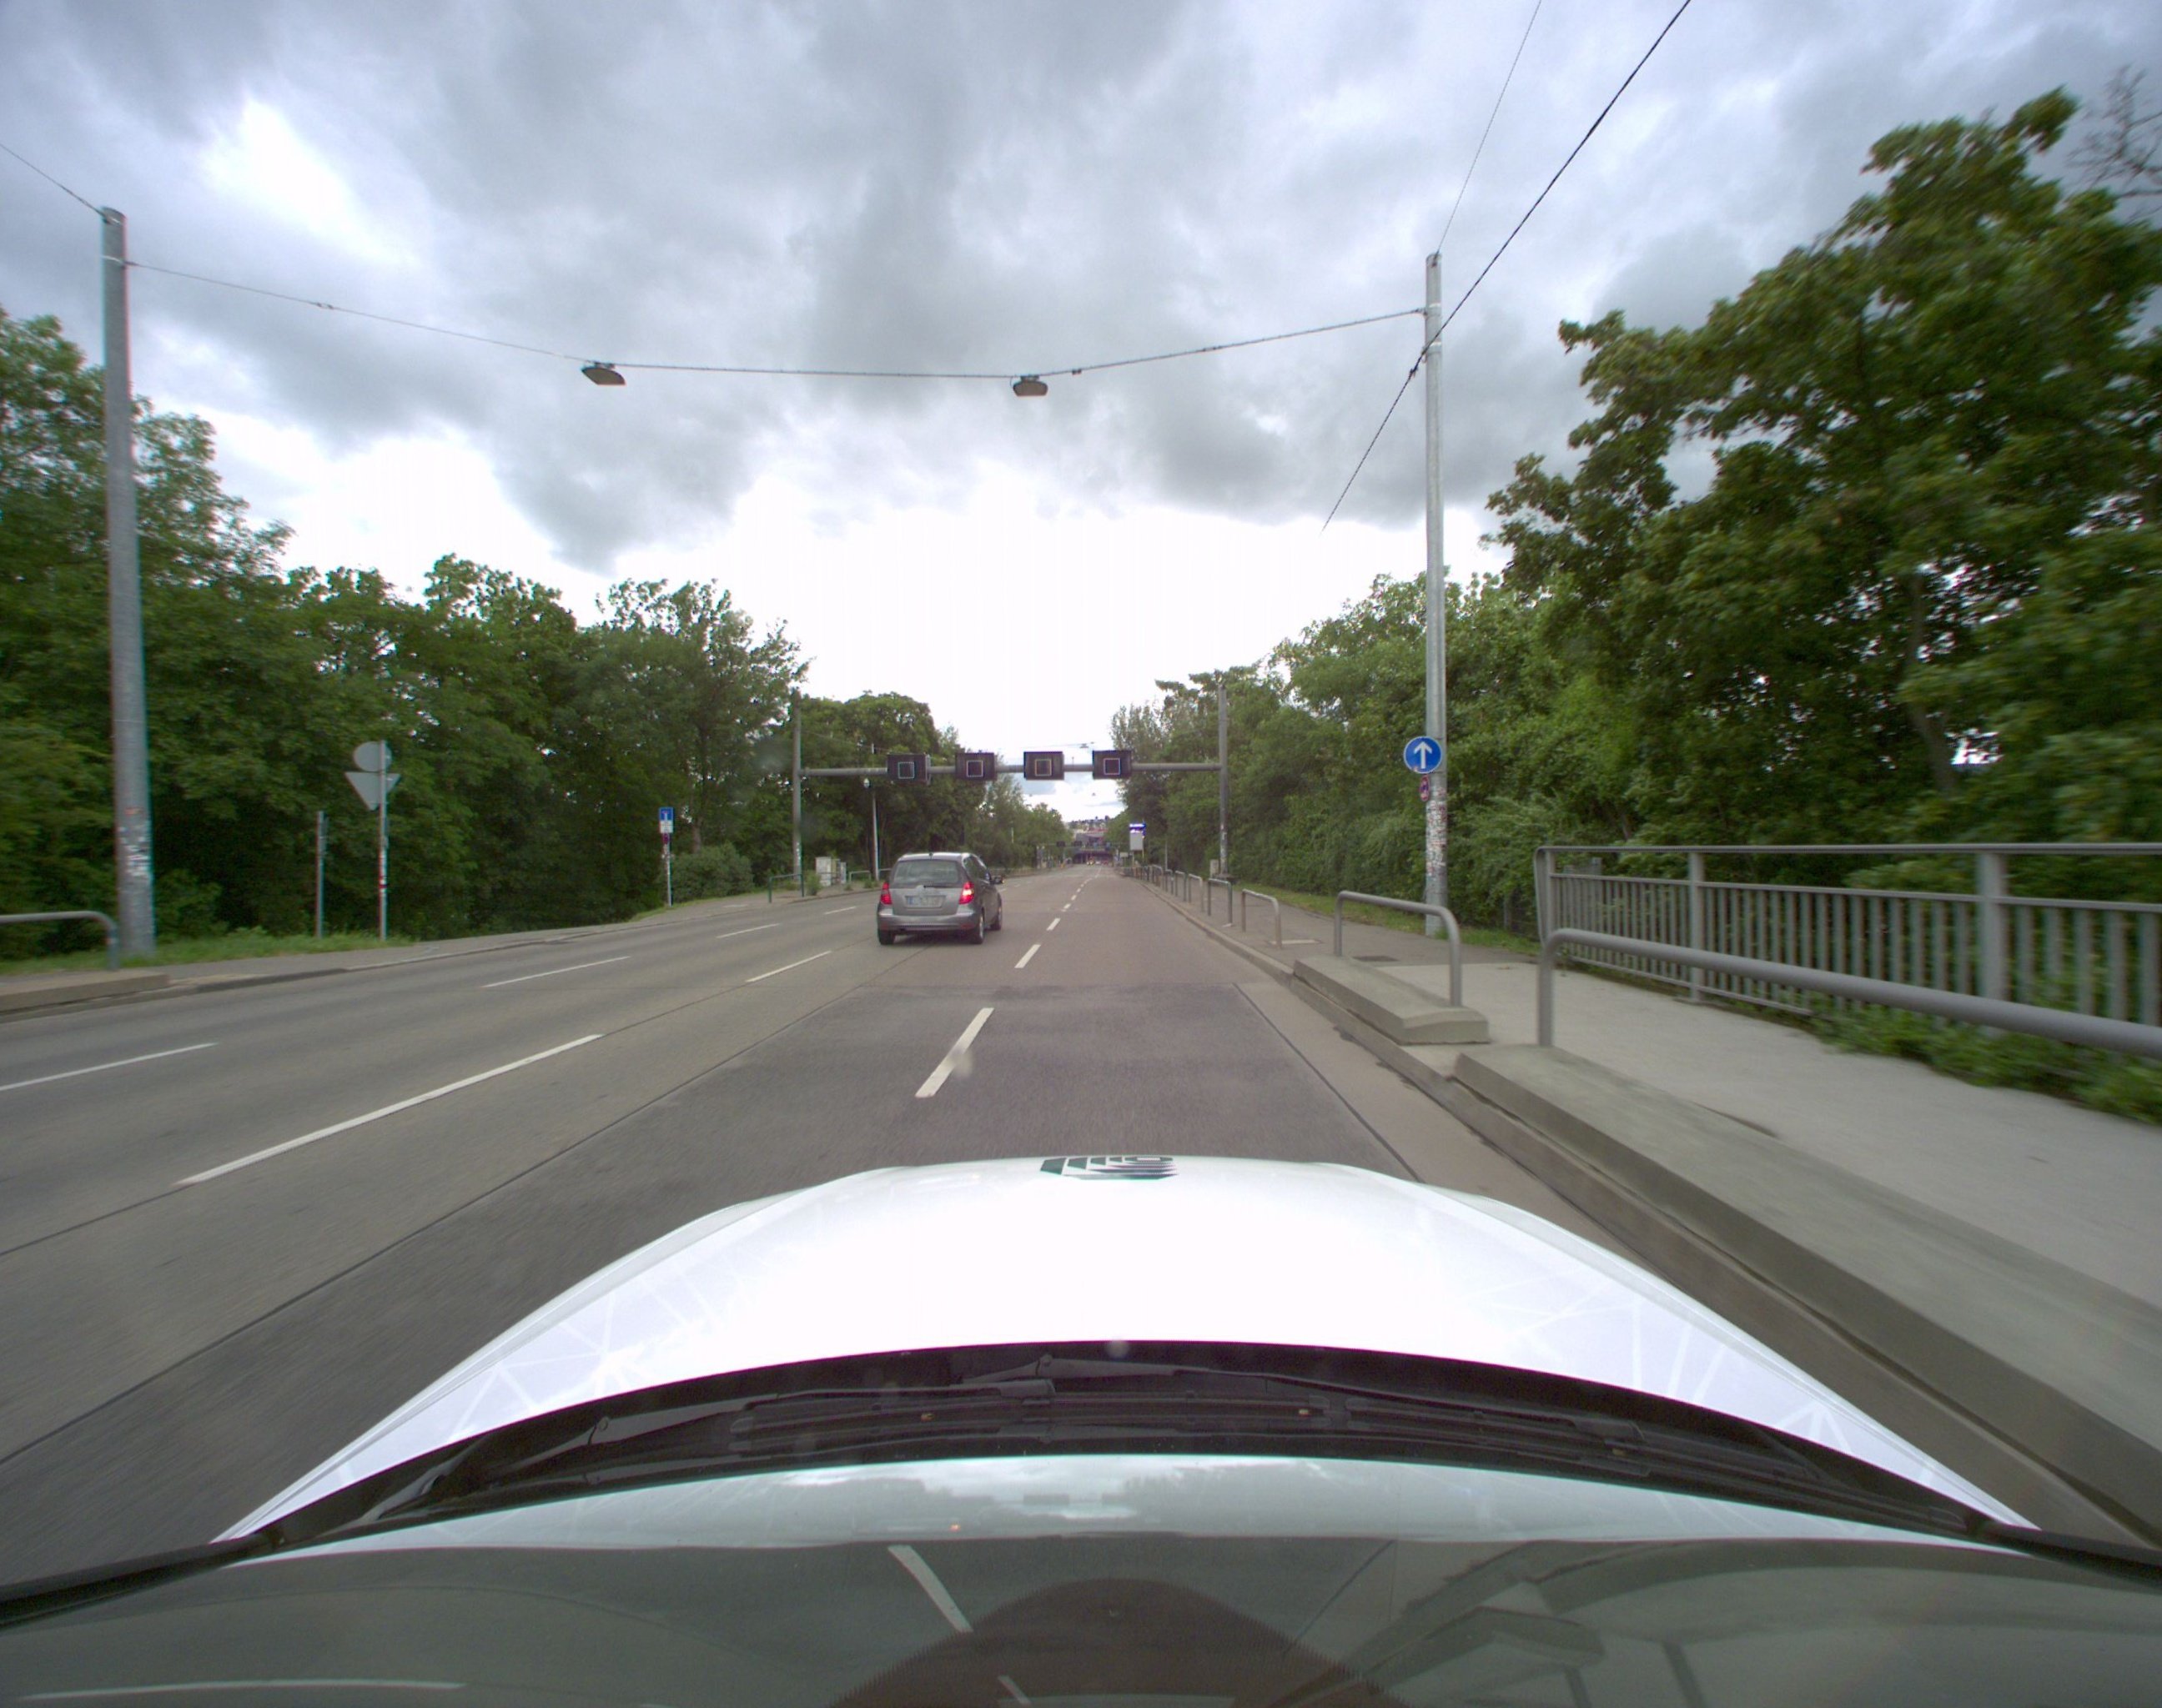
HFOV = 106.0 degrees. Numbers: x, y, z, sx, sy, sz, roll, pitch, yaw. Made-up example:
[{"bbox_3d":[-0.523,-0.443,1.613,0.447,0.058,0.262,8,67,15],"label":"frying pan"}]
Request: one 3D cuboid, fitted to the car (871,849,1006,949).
[{"bbox_3d":[-2.490,0.723,15.145,1.739,1.550,3.872,0,1,1],"label":"car"}]
